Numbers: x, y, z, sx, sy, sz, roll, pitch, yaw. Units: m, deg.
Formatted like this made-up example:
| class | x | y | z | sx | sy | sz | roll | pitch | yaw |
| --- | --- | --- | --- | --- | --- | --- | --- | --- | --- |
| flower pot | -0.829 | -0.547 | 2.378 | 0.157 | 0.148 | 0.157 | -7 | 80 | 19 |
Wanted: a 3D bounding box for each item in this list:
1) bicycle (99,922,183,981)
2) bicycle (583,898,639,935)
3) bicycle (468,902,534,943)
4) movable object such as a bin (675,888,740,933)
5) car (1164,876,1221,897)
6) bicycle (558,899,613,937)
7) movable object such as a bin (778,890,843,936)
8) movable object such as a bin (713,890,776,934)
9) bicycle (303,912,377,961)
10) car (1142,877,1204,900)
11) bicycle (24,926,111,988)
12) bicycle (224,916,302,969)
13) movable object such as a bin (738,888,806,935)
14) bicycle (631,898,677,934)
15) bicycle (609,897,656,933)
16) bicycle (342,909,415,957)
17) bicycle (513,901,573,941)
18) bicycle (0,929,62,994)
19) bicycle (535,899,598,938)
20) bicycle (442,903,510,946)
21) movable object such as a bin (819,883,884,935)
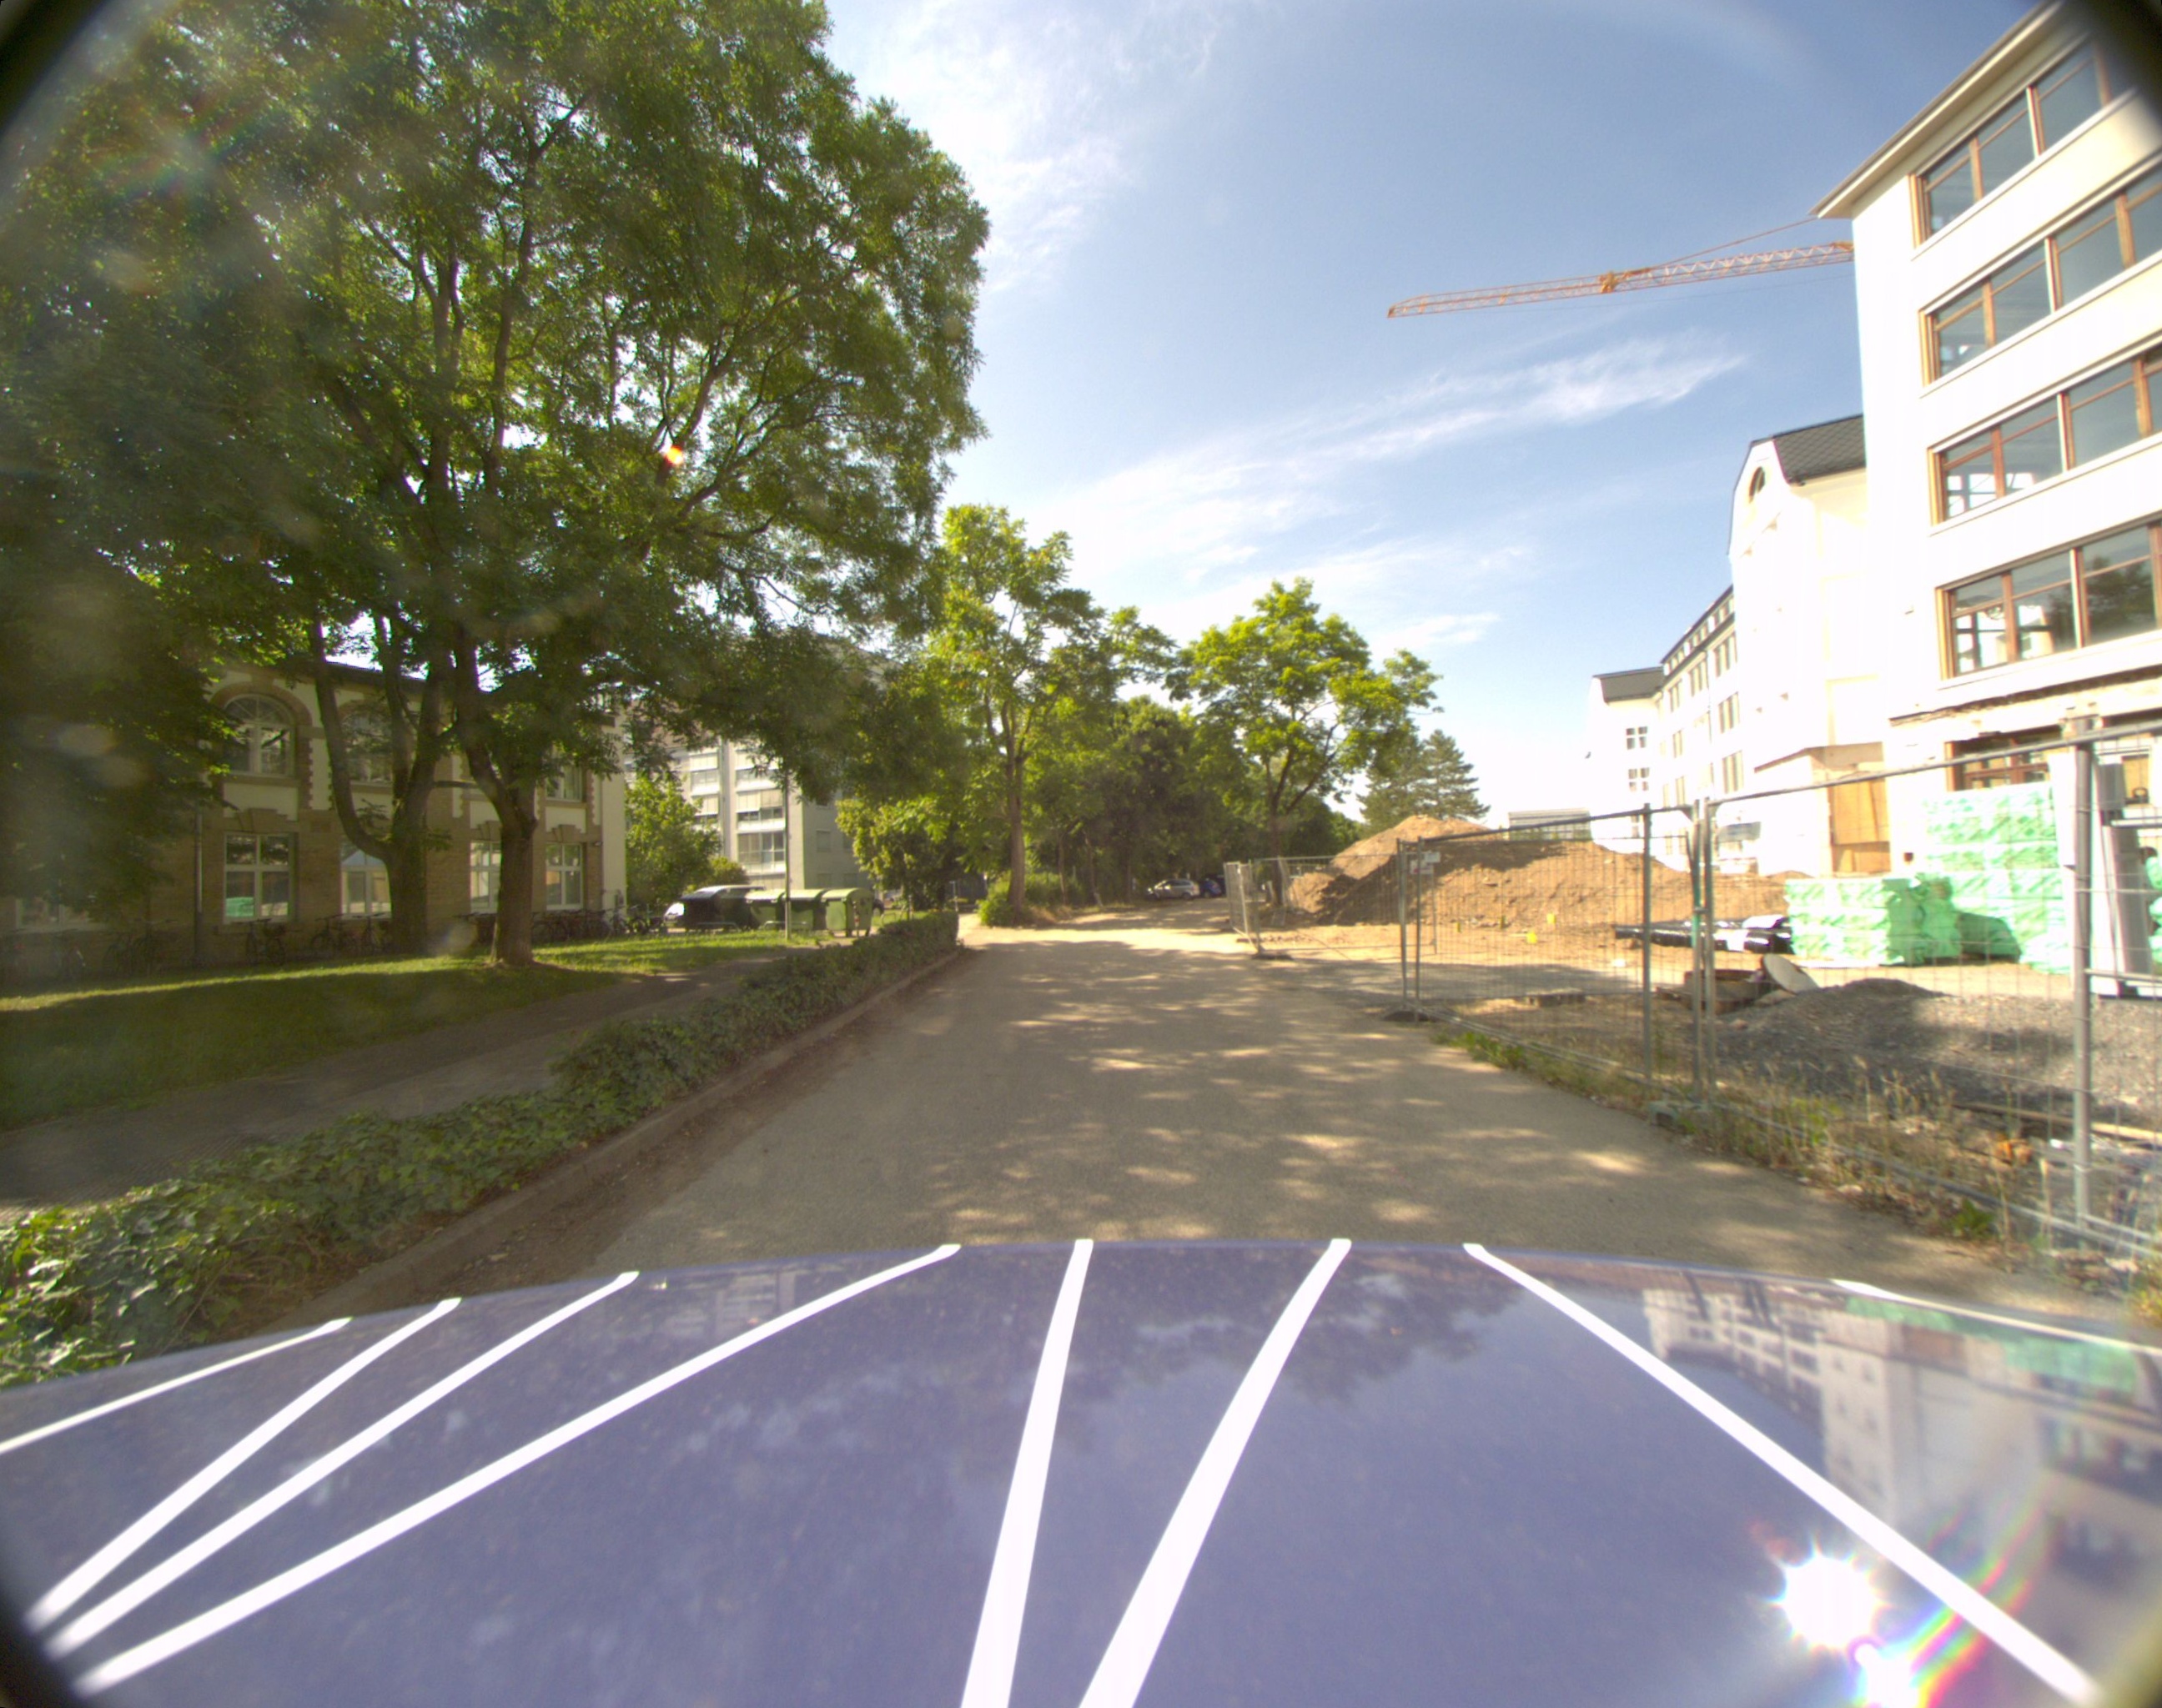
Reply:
| class | x | y | z | sx | sy | sz | roll | pitch | yaw |
| --- | --- | --- | --- | --- | --- | --- | --- | --- | --- |
| bicycle | -19.908 | 2.040 | 16.078 | 2.097 | 1.154 | 0.589 | -3 | -1 | 24 |
| bicycle | -15.583 | 2.062 | 25.171 | 1.847 | 1.154 | 0.614 | -3 | -1 | 24 |
| bicycle | -16.948 | 1.998 | 22.184 | 2.097 | 1.154 | 0.589 | -3 | -1 | 24 |
| movable object such as a bin | -12.360 | 1.857 | 25.166 | 1.433 | 1.401 | 1.252 | -2 | -1 | 20 |
| car | 8.638 | 2.518 | 58.775 | 3.991 | 1.433 | 2.003 | -2 | -2 | 19 |
| bicycle | -15.893 | 2.047 | 24.363 | 1.909 | 1.154 | 0.495 | -3 | -1 | 24 |
| movable object such as a bin | -8.237 | 1.798 | 23.195 | 1.352 | 1.292 | 1.217 | -2 | -1 | 21 |
| movable object such as a bin | -10.887 | 1.859 | 24.619 | 1.349 | 1.341 | 1.217 | -2 | -1 | 21 |
| bicycle | -18.475 | 2.042 | 18.938 | 2.097 | 1.154 | 0.589 | -3 | -1 | 24 |
| car | 6.523 | 2.432 | 53.812 | 3.991 | 1.499 | 2.003 | -2 | -2 | 19 |
| bicycle | -20.353 | 2.041 | 15.255 | 2.097 | 1.154 | 0.589 | -3 | -1 | 24 |
| bicycle | -19.075 | 2.052 | 17.711 | 2.097 | 1.154 | 0.589 | -3 | -1 | 24 |
| movable object such as a bin | -9.634 | 1.781 | 23.737 | 1.499 | 1.353 | 1.217 | -2 | -1 | 21 |
| bicycle | -14.701 | 2.131 | 26.135 | 1.940 | 1.154 | 0.558 | -3 | -1 | 34 |
| bicycle | -15.174 | 2.051 | 25.697 | 1.800 | 1.154 | 0.508 | -3 | -1 | 29 |
| bicycle | -18.187 | 2.038 | 19.660 | 2.097 | 1.154 | 0.589 | -3 | -1 | 24 |
| bicycle | -16.395 | 2.027 | 23.137 | 1.917 | 1.154 | 0.589 | -3 | -1 | 24 |
| bicycle | -20.497 | 2.043 | 14.635 | 2.097 | 1.154 | 0.589 | -3 | -1 | 24 |
| bicycle | -16.150 | 2.032 | 23.849 | 2.097 | 1.154 | 0.589 | -3 | -1 | 24 |
| bicycle | -17.175 | 2.002 | 21.549 | 2.097 | 1.154 | 0.589 | -3 | -1 | 24 |
| movable object such as a bin | -6.847 | 1.623 | 22.651 | 1.389 | 1.454 | 1.218 | -3 | -1 | 36 |
